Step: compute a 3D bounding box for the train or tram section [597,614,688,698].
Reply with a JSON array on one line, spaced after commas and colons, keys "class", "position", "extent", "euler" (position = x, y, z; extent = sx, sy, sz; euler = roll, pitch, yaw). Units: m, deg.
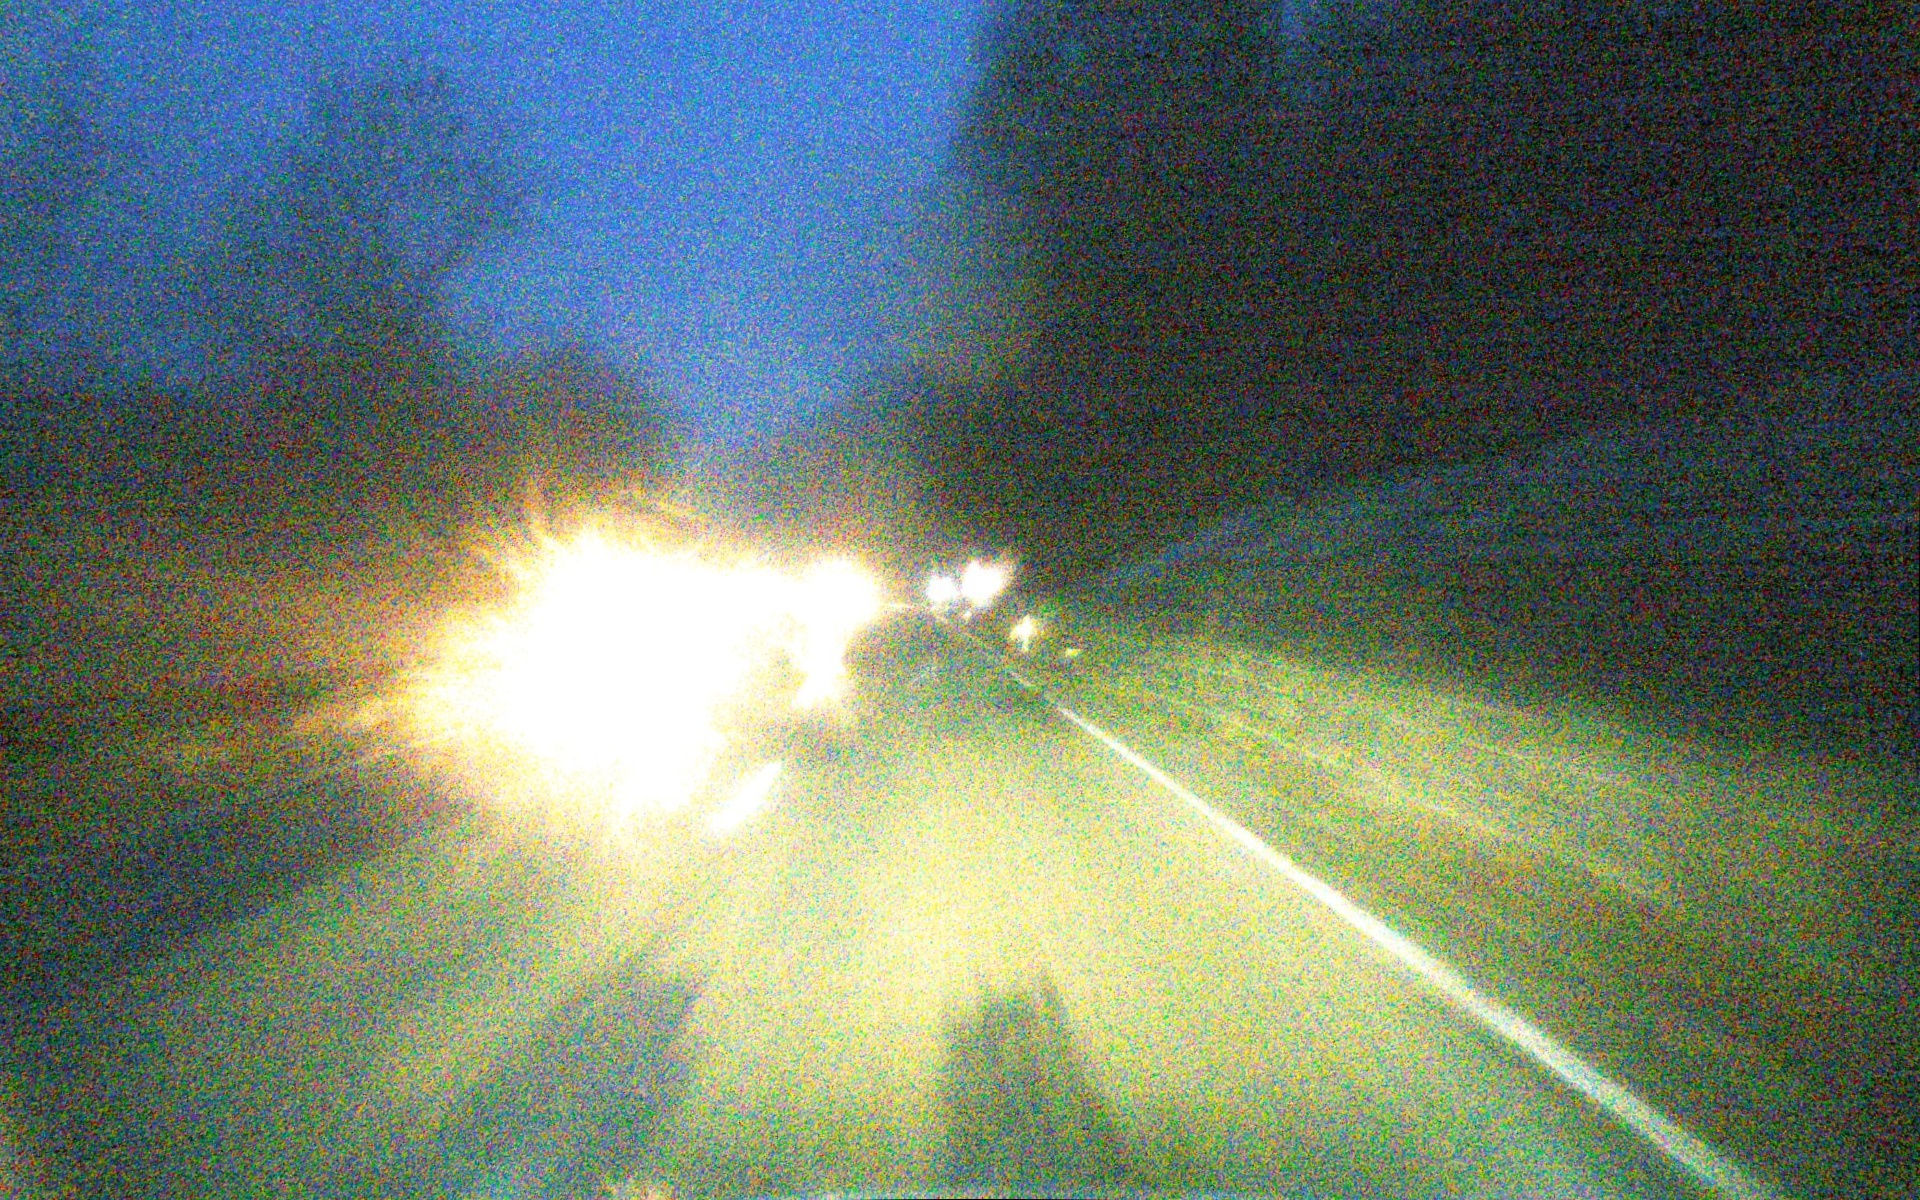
[{"class": "train or tram section", "position": [-14.399, 2.457, 75.733], "extent": [2.786, 3.520, 8.549], "euler": [1, 0, -2]}]
